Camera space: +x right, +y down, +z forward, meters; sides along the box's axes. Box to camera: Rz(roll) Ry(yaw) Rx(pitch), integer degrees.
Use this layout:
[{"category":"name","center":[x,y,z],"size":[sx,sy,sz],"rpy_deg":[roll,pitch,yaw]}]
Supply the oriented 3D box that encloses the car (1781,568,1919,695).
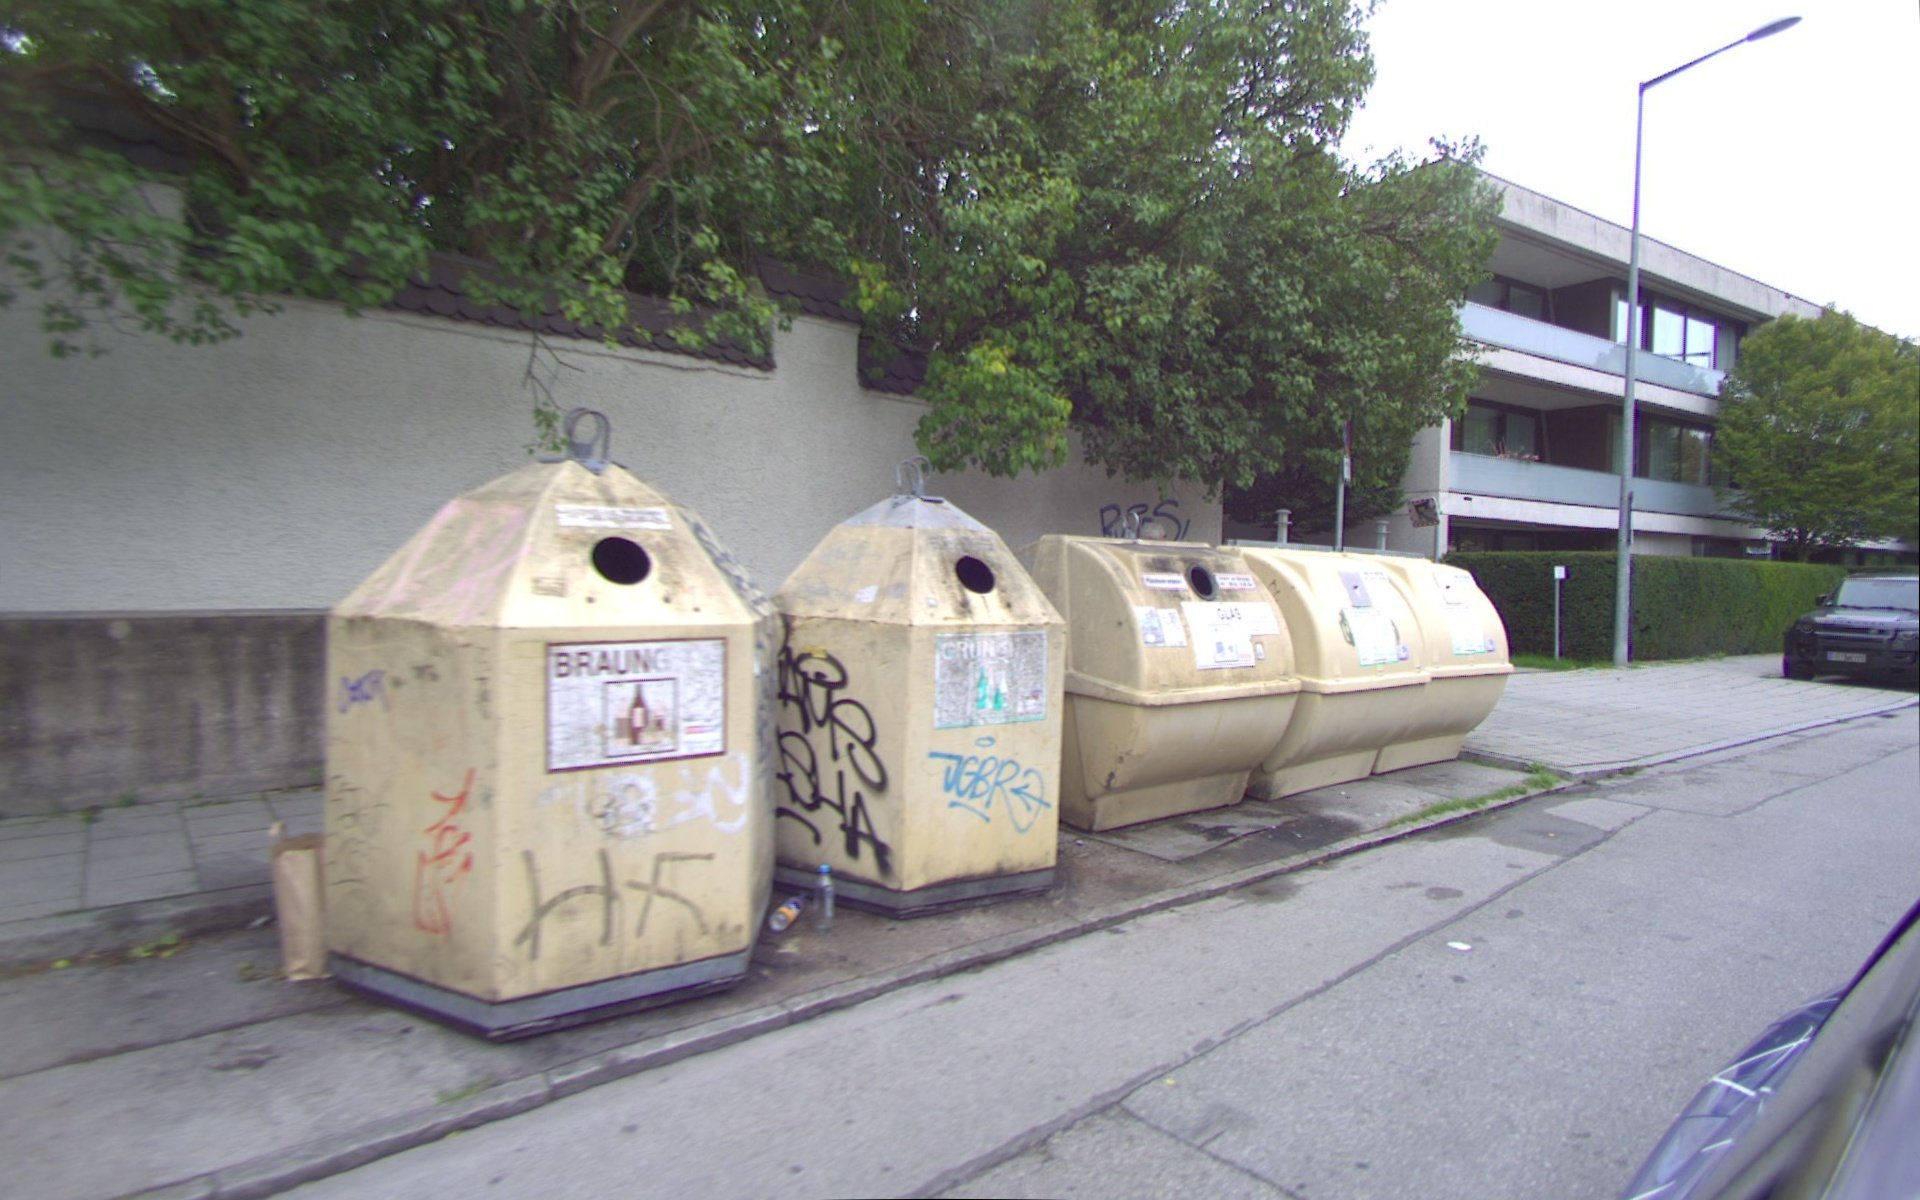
[{"category":"car","center":[15.976,0.426,16.990],"size":[4.980,1.894,1.995],"rpy_deg":[-1,2,-34]}]

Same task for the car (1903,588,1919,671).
[{"category":"car","center":[20.396,0.602,19.852],"size":[4.481,1.558,1.754],"rpy_deg":[0,2,-34]}]
